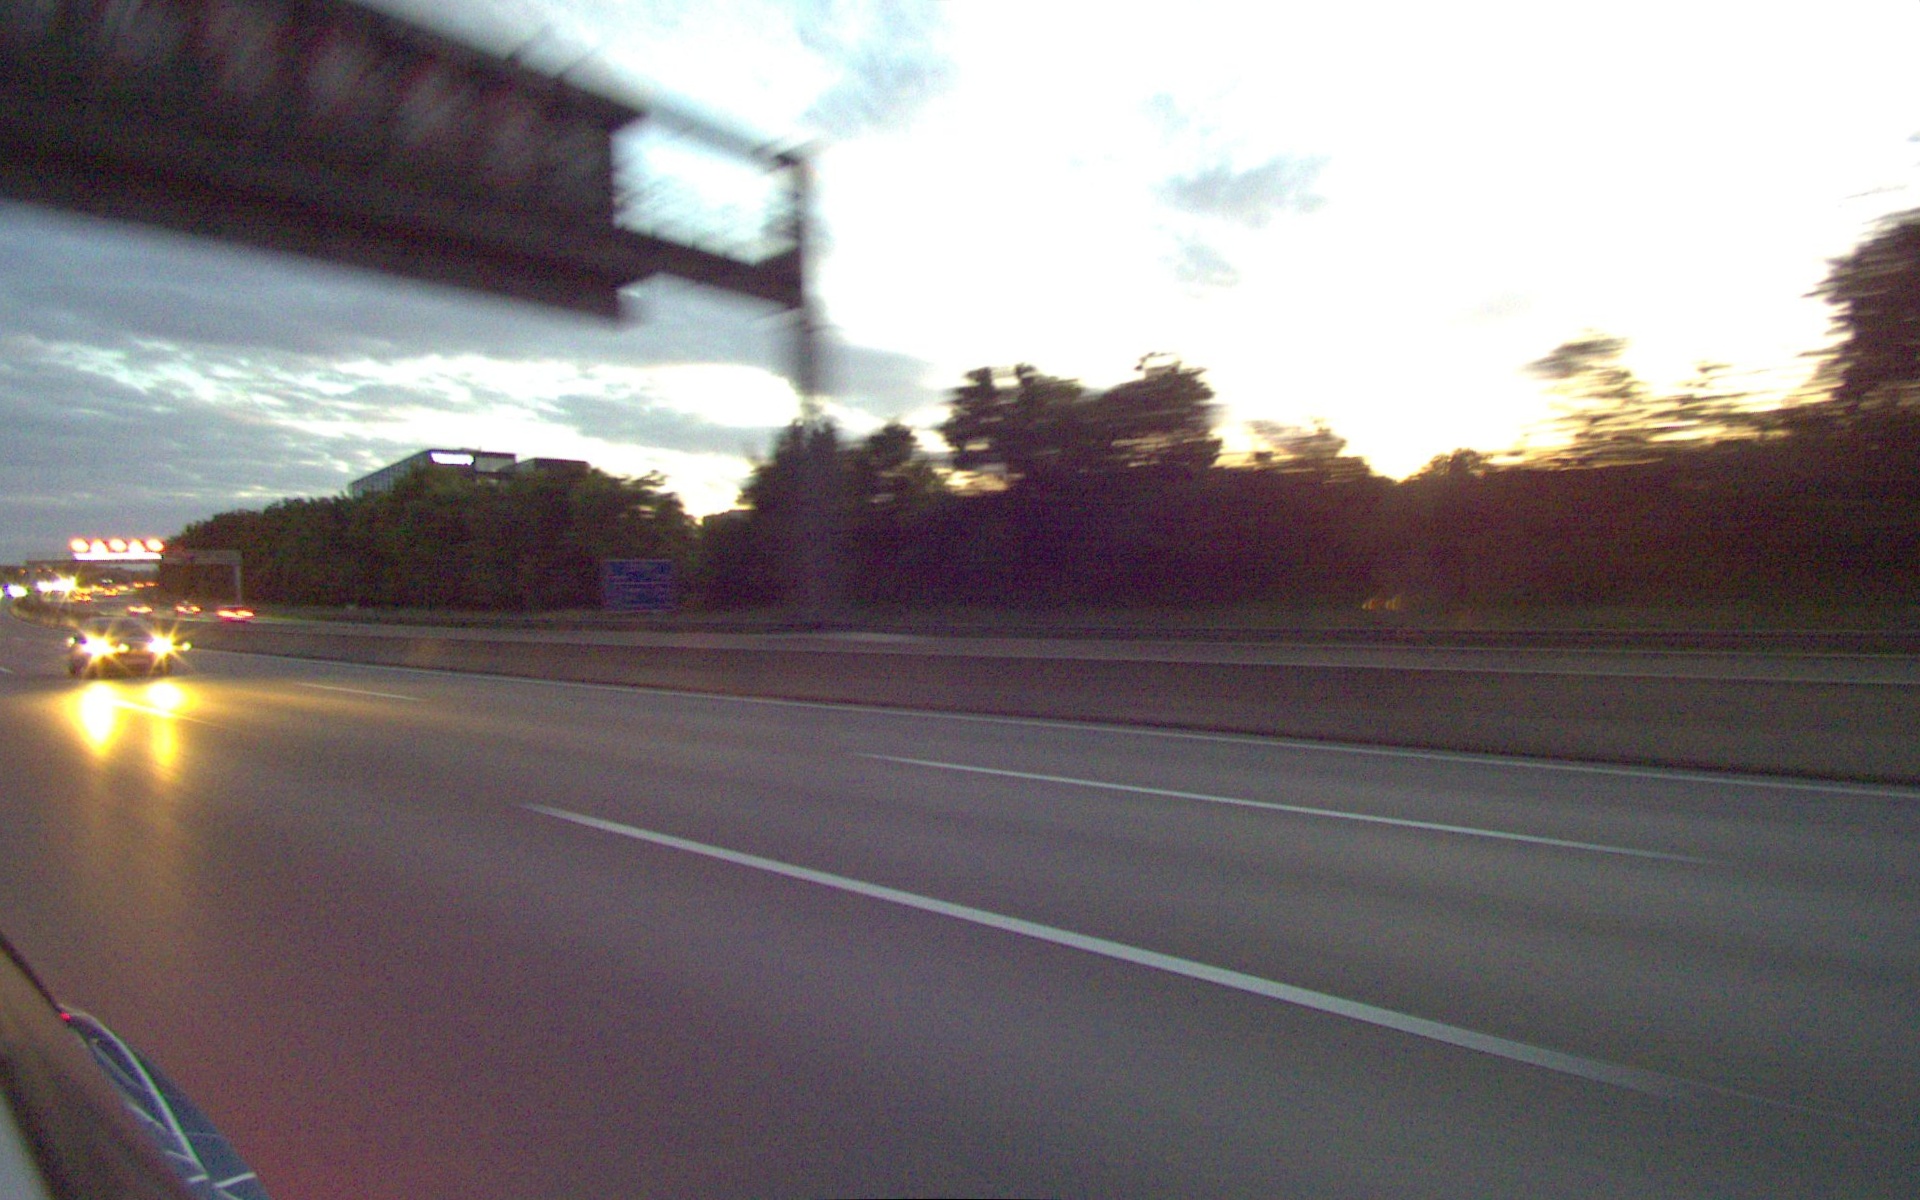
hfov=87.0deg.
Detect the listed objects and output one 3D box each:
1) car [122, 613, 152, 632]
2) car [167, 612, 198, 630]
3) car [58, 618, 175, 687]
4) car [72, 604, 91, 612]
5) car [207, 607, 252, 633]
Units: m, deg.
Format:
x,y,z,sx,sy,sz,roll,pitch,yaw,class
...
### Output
x,y,z,sx,sy,sz,roll,pitch,yaw,class
-91.922,2.464,112.960,5.057,1.907,1.855,1,1,42,car
-88.335,2.339,114.977,5.057,1.907,1.972,1,1,42,car
-21.525,1.269,25.780,3.999,1.491,1.695,1,1,42,car
-159.088,1.407,183.285,5.235,1.235,2.037,1,2,44,car
-60.271,1.629,83.434,4.676,1.907,1.973,1,1,41,car
